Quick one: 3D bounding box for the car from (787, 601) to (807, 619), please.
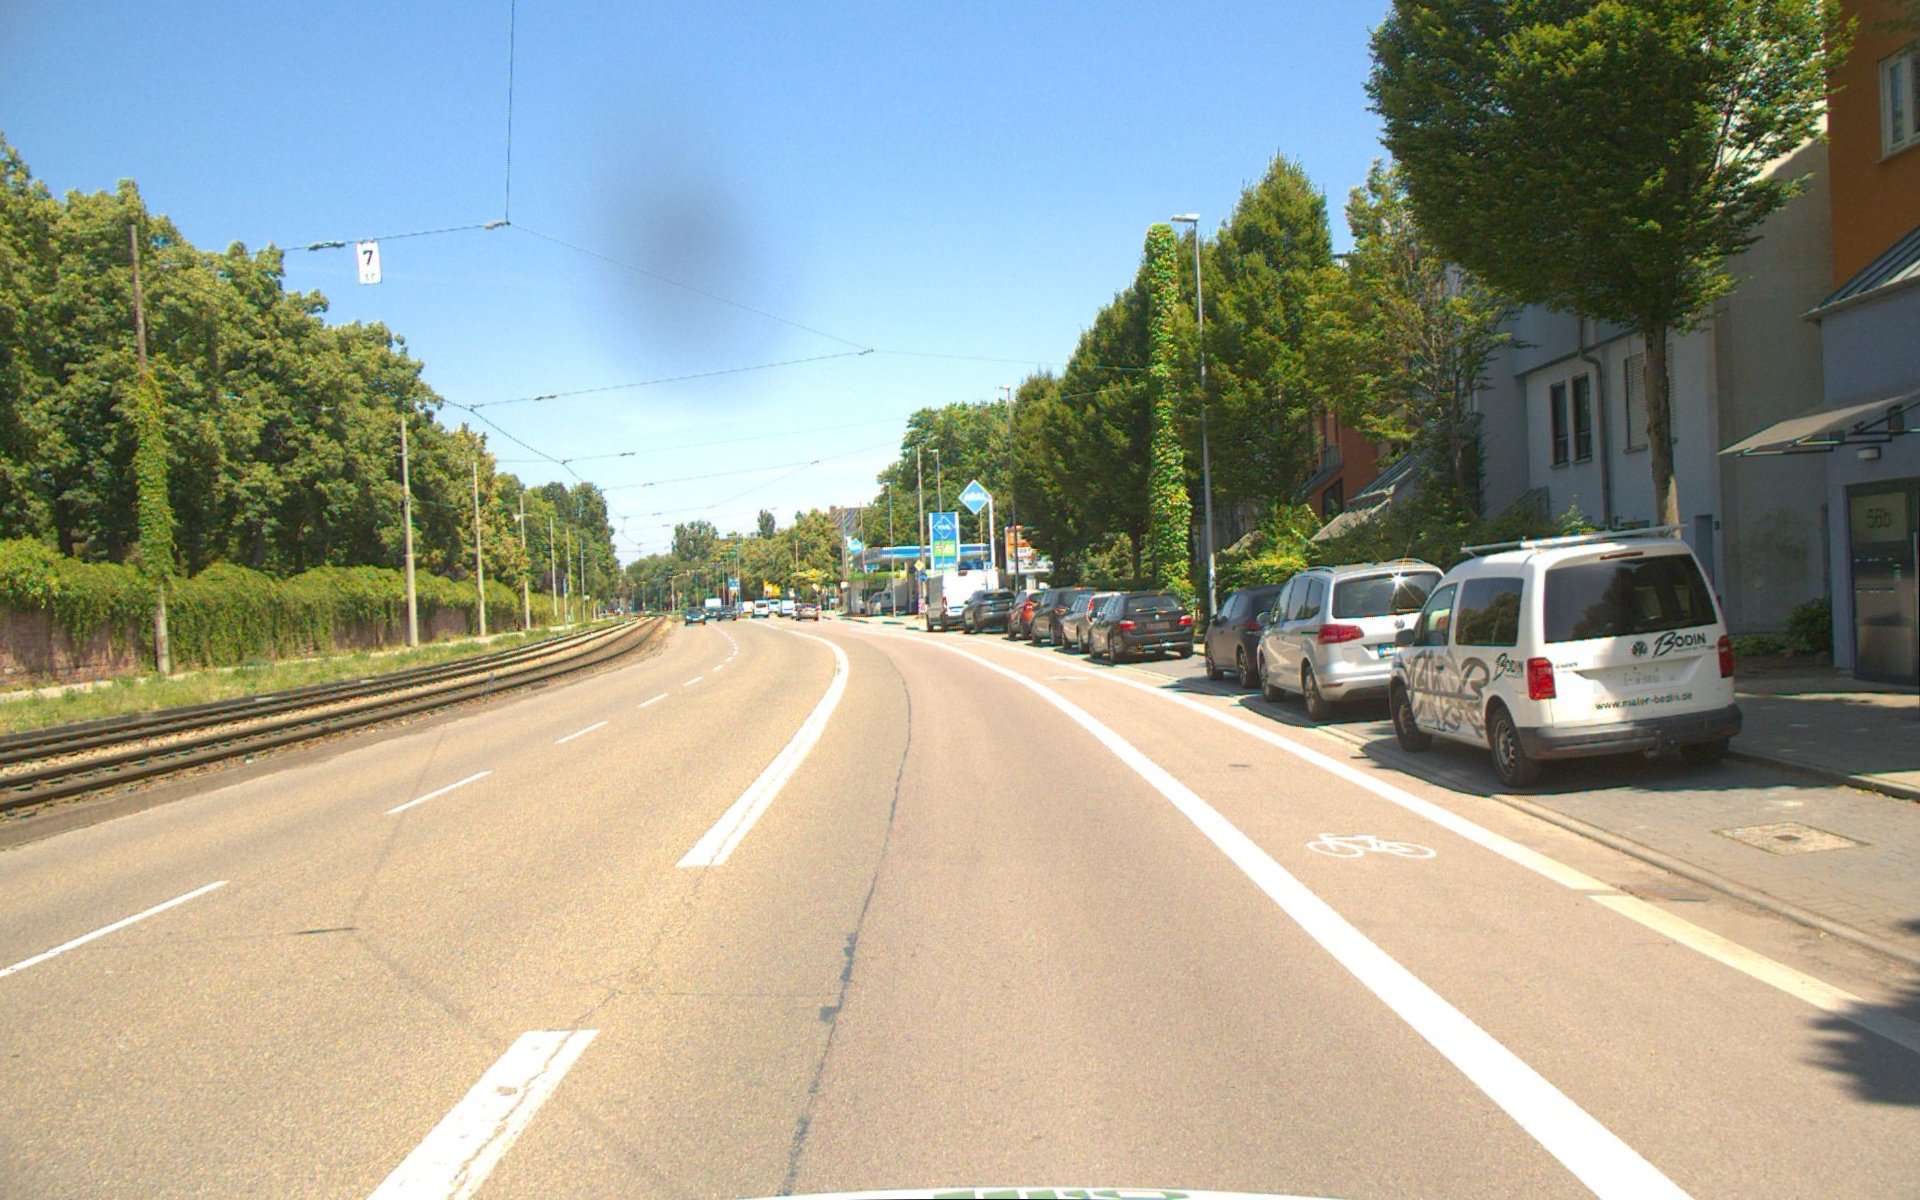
[{"bbox_3d":[-16.347,1.020,165.882,1.723,1.658,4.316,-5,1,-8],"label":"car"}]

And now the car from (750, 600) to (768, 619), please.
[{"bbox_3d":[-22.149,1.043,182.250,1.724,1.907,4.314,-5,1,-9],"label":"car"}]

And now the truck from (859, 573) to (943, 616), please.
[{"bbox_3d":[-5.628,-0.516,158.426,7.810,3.665,2.661,-3,0,-4],"label":"truck"}]

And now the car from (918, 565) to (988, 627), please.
[{"bbox_3d":[-0.377,-0.168,74.505,1.965,2.499,6.094,-5,1,-10],"label":"car"}]

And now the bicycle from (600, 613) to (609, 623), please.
[{"bbox_3d":[-45.400,2.300,211.169,0.668,1.071,2.008,-7,0,-2],"label":"bicycle"}]

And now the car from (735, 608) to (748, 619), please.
[{"bbox_3d":[-33.867,2.091,256.736,1.724,1.658,4.314,-5,1,-9],"label":"car"}]

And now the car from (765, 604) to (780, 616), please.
[{"bbox_3d":[-27.423,1.461,241.789,1.724,1.658,4.314,-5,1,-9],"label":"car"}]

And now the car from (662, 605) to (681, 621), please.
[{"bbox_3d":[-33.667,1.549,193.026,1.727,1.658,4.307,-5,1,-14],"label":"car"}]

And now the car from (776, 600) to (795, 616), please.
[{"bbox_3d":[-19.429,0.865,183.962,1.724,1.658,4.314,-5,1,-9],"label":"car"}]

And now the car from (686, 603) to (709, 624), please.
[{"bbox_3d":[-21.844,1.120,137.732,1.724,1.535,4.314,-5,1,-9],"label":"car"}]

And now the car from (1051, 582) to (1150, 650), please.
[{"bbox_3d":[3.617,0.386,43.345,1.674,1.518,4.726,-5,1,-5],"label":"car"}]

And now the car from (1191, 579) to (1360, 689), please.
[{"bbox_3d":[4.827,0.471,25.881,1.552,1.447,4.178,-5,1,-3],"label":"car"}]

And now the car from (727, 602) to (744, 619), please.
[{"bbox_3d":[-24.331,1.135,179.487,1.723,1.658,4.316,-5,1,-8],"label":"car"}]

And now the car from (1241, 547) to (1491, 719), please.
[{"bbox_3d":[4.857,0.328,20.514,1.803,1.723,4.778,-5,1,0],"label":"car"}]

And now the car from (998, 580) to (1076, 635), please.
[{"bbox_3d":[2.478,0.239,54.443,1.675,1.589,4.316,-5,1,-8],"label":"car"}]

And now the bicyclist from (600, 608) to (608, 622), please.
[{"bbox_3d":[-45.439,1.917,211.178,0.668,1.600,0.795,-7,0,-3],"label":"bicyclist"}]

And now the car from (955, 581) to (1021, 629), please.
[{"bbox_3d":[1.050,0.202,64.403,1.724,1.658,4.314,-5,1,-9],"label":"car"}]

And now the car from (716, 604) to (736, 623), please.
[{"bbox_3d":[-22.989,1.314,162.342,1.724,1.658,4.314,-5,1,-9],"label":"car"}]

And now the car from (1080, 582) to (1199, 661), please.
[{"bbox_3d":[3.965,0.428,37.362,1.674,1.518,5.034,-5,1,-4],"label":"car"}]

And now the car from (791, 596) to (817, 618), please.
[{"bbox_3d":[-13.275,0.565,140.555,1.724,1.658,4.314,-5,1,-9],"label":"car"}]

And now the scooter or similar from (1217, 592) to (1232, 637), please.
[{"bbox_3d":[6.350,0.341,39.672,0.327,1.049,1.083,0,0,10],"label":"scooter or similar"}]

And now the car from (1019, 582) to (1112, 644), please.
[{"bbox_3d":[3.038,0.374,48.533,1.676,1.589,4.314,-5,1,-9],"label":"car"}]

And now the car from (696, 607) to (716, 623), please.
[{"bbox_3d":[-29.045,1.686,188.772,1.727,1.658,4.307,-5,1,-14],"label":"car"}]

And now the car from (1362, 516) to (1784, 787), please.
[{"bbox_3d":[5.038,0.354,14.332,1.804,1.824,4.352,-5,1,-2],"label":"car"}]
